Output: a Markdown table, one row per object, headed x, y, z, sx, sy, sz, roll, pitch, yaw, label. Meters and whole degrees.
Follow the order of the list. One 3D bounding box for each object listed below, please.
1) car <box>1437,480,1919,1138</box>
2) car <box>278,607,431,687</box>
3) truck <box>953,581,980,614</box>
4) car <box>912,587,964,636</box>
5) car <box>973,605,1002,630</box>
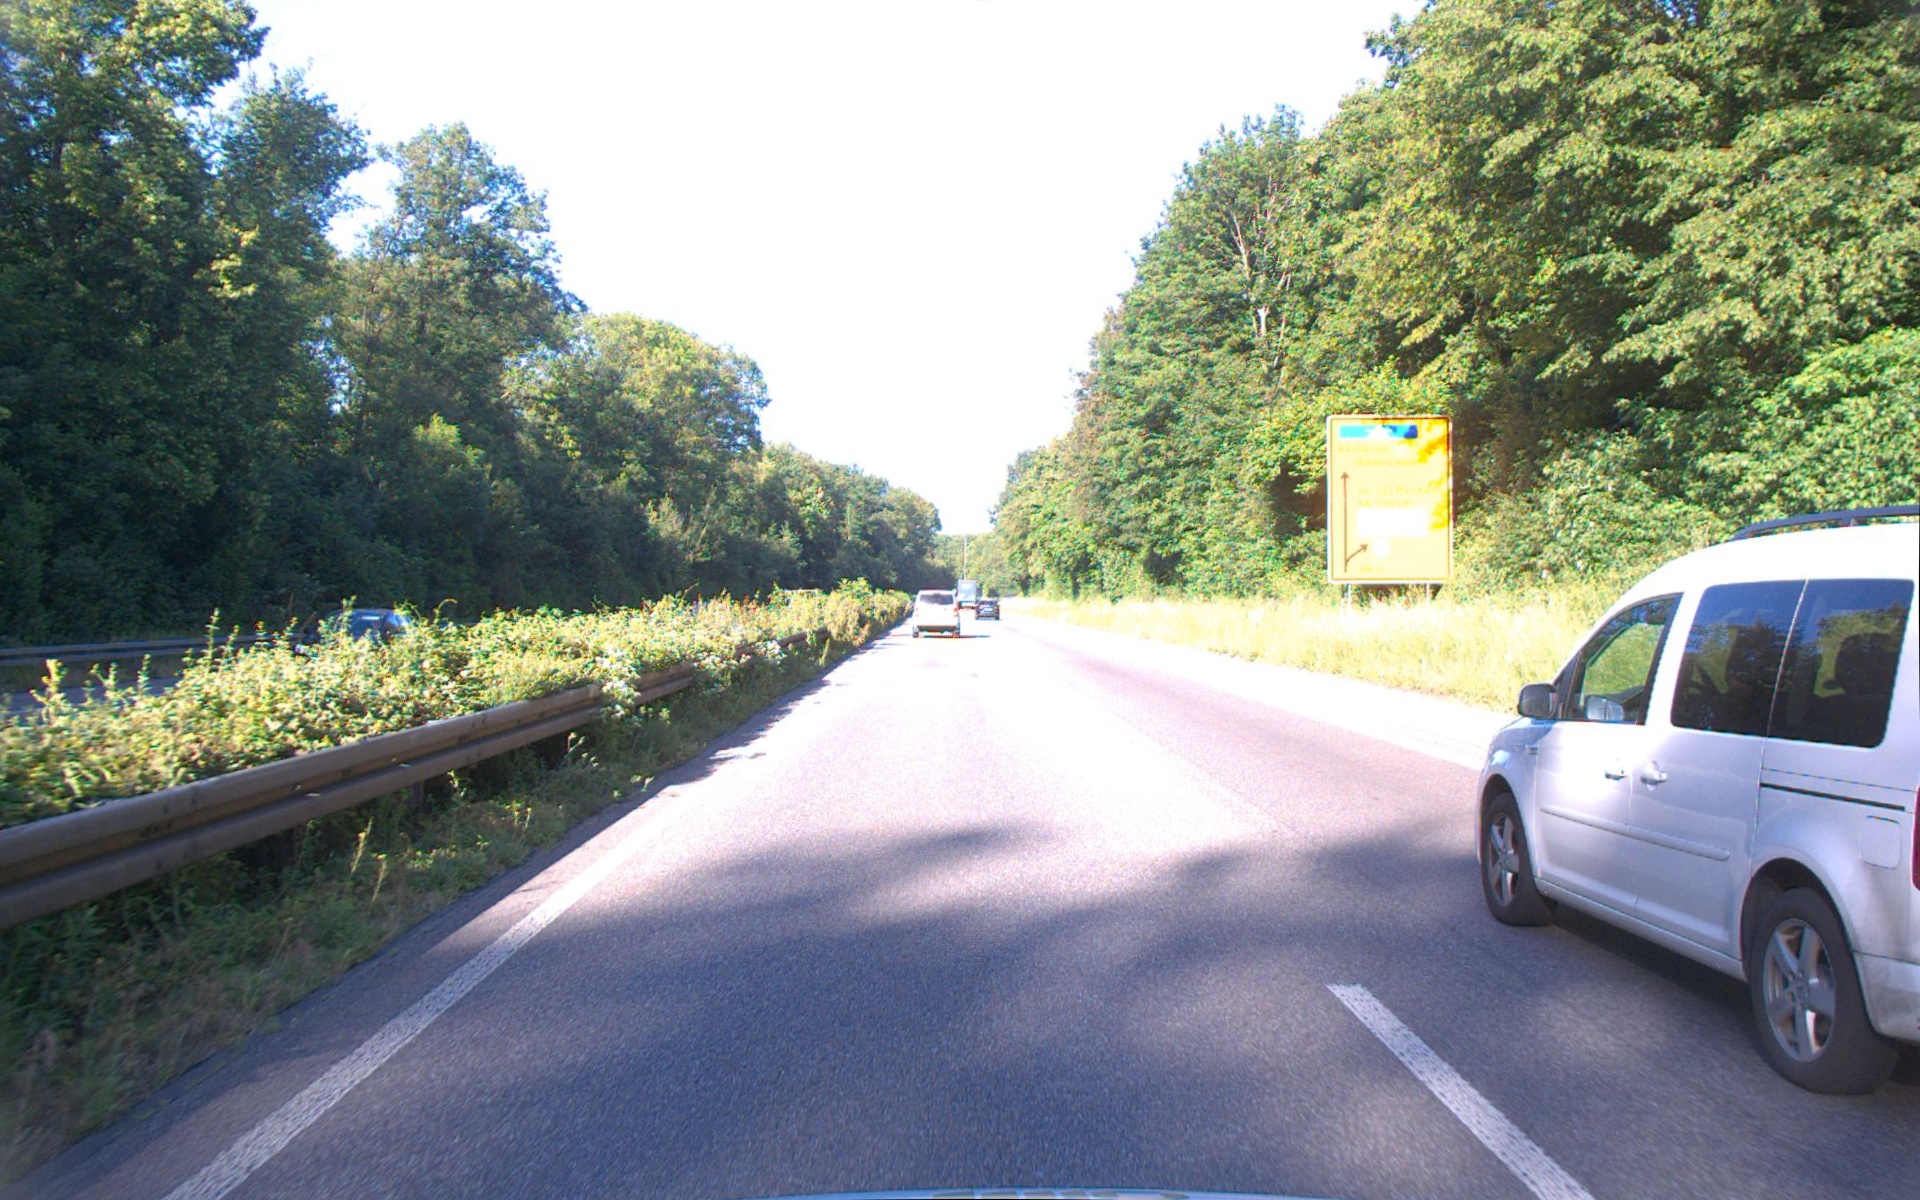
| x | y | z | sx | sy | sz | roll | pitch | yaw | label |
| --- | --- | --- | --- | --- | --- | --- | --- | --- | --- |
| 3.536 | 0.612 | 6.754 | 1.762 | 1.844 | 4.586 | 1 | 0 | -1 | car |
| -12.152 | 0.912 | 33.437 | 1.727 | 1.499 | 3.791 | 1 | 0 | -1 | car |
| 0.880 | -0.341 | 232.946 | 3.658 | 4.419 | 9.303 | 1 | 0 | -1 | truck |
| -0.857 | 0.447 | 64.097 | 1.912 | 1.813 | 4.586 | 1 | 0 | -1 | car |
| 2.004 | 1.271 | 120.944 | 1.912 | 1.813 | 4.586 | 1 | 0 | -1 | car |
